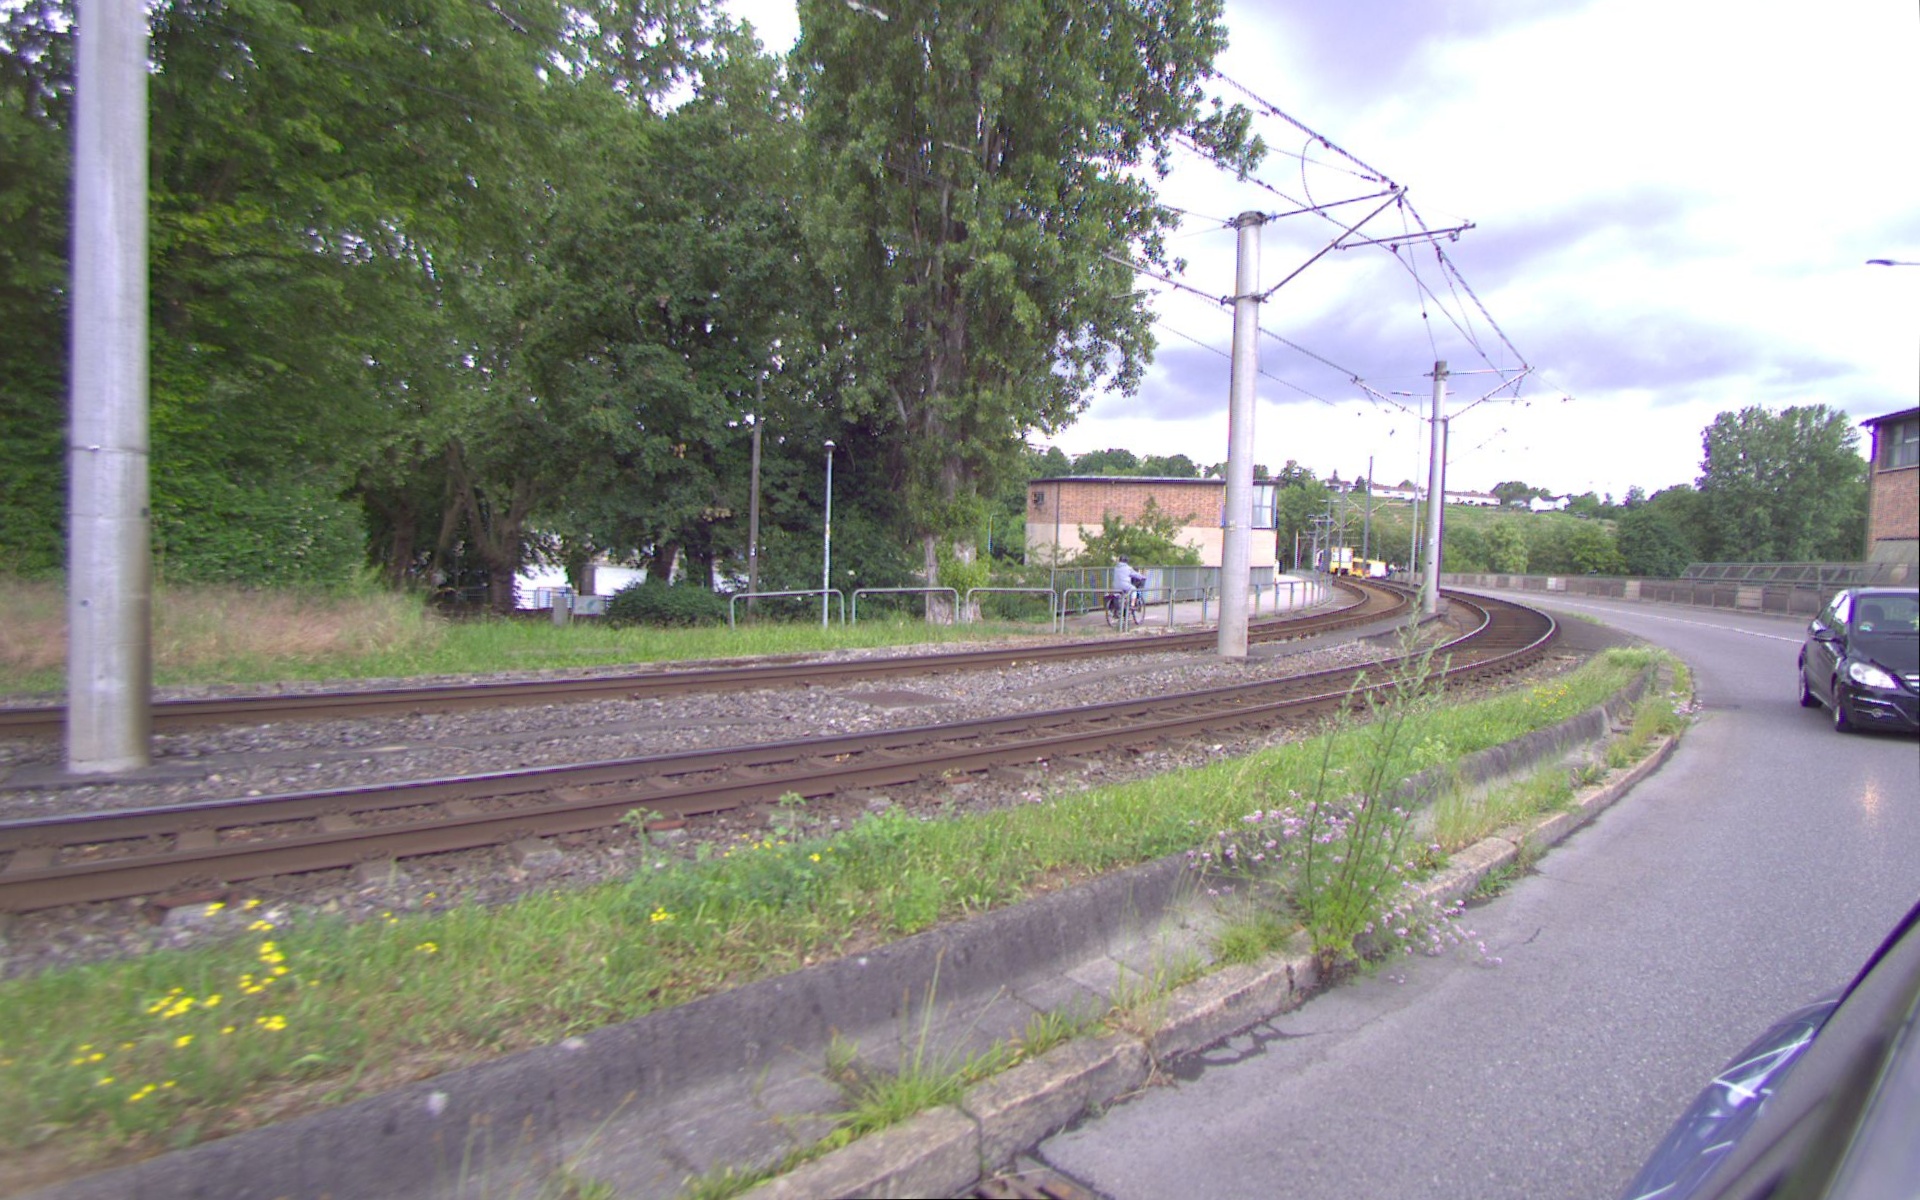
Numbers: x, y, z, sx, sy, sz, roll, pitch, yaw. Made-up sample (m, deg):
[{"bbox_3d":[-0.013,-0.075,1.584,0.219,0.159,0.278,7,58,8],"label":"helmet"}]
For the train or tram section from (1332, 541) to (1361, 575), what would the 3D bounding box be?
[{"bbox_3d":[48.209,-5.289,126.466,2.995,3.966,9.385,3,3,19],"label":"train or tram section"}]

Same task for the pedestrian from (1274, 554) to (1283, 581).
[{"bbox_3d":[20.385,-2.099,64.780,0.504,1.685,0.351,2,2,13],"label":"pedestrian"}]

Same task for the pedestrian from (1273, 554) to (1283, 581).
[{"bbox_3d":[20.468,-2.084,65.158,0.504,1.685,0.351,2,2,13],"label":"pedestrian"}]

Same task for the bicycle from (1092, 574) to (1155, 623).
[{"bbox_3d":[3.759,-0.041,23.101,0.425,1.063,2.050,2,1,40],"label":"bicycle"}]

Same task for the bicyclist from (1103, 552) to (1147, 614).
[{"bbox_3d":[3.759,-0.397,23.062,0.593,1.377,0.897,2,1,40],"label":"bicyclist"}]

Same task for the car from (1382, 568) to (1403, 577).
[{"bbox_3d":[75.808,-4.824,177.500,3.936,1.593,1.995,-3,4,-45],"label":"car"}]

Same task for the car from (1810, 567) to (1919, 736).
[{"bbox_3d":[10.975,0.490,11.389,1.852,1.641,3.948,3,4,36],"label":"car"}]

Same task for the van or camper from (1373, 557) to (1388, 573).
[{"bbox_3d":[67.250,-5.551,161.791,2.134,2.506,4.673,2,2,24],"label":"van or camper"}]
